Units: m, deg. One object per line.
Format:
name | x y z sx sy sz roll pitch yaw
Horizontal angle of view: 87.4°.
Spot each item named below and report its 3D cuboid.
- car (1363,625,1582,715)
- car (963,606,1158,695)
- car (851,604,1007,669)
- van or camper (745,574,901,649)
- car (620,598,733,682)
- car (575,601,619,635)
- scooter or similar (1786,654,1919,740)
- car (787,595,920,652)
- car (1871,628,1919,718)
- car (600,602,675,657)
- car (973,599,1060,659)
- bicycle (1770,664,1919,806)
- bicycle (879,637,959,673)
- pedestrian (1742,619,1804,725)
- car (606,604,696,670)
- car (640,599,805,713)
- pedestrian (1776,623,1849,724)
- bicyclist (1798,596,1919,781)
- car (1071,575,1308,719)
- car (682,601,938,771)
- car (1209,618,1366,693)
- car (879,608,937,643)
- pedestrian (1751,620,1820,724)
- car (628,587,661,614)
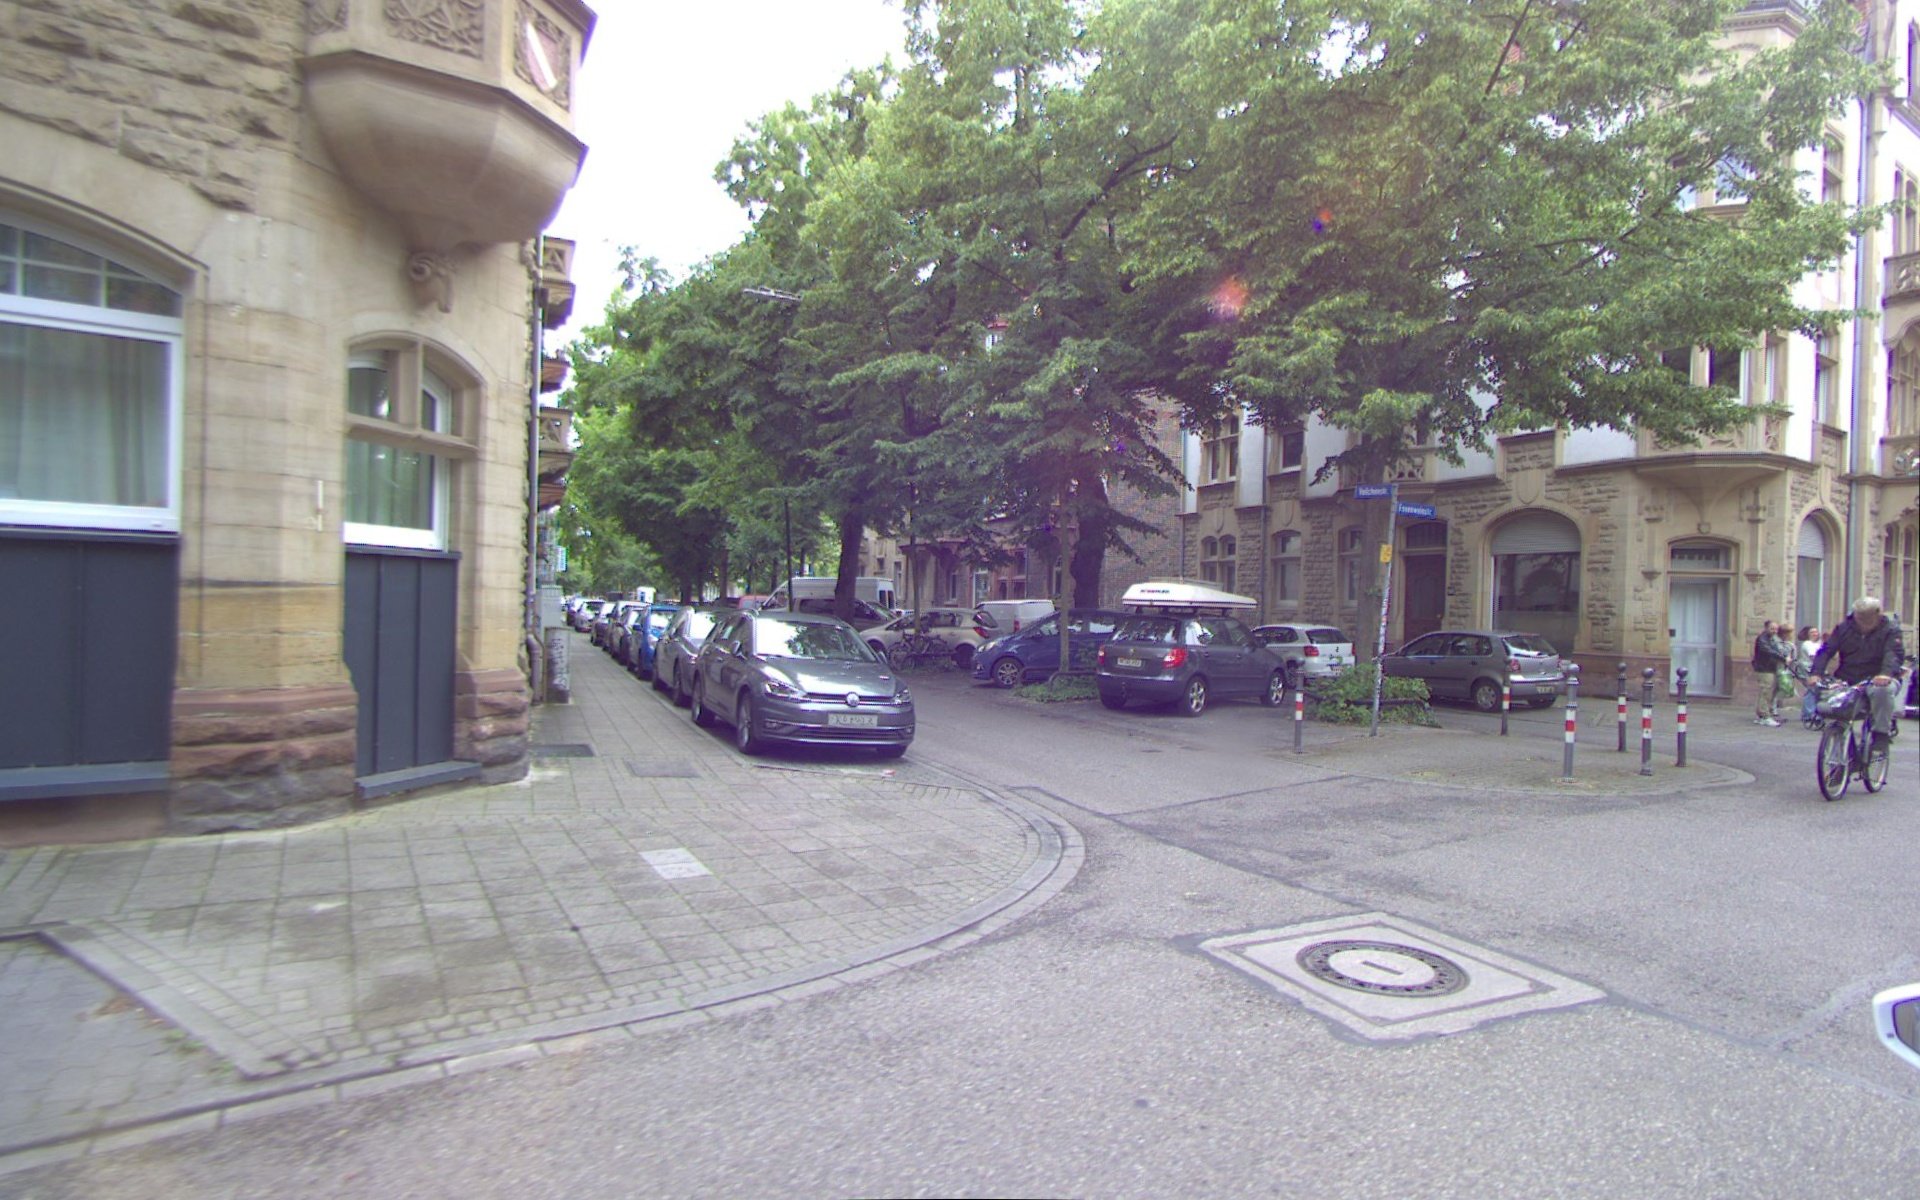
car | 9.762 1.261 19.406 1.626 1.480 3.560 -1 0 -23
car | 1.876 0.922 19.249 3.540 1.536 1.654 1 0 3
car | -0.764 0.907 25.636 3.585 1.500 1.780 1 -1 16
van or camper | -4.962 0.391 36.558 5.193 2.494 2.075 1 0 18
car | -5.986 0.784 20.972 1.641 1.485 3.369 5 -2 -25
car | -16.660 0.805 46.003 1.588 1.424 3.369 1 0 -25
scooter or similar | 13.765 1.457 15.442 0.666 1.119 1.466 2 2 -21
car | -3.274 0.737 31.233 3.683 1.537 1.759 3 -1 11
car | 18.207 1.363 18.021 3.956 1.514 1.700 3 1 -32
car | -9.425 0.819 29.257 1.558 1.367 3.369 5 -2 -25
car | 2.049 1.018 37.360 1.885 2.035 3.512 0 2 -23
bicycle | 7.968 1.144 8.920 1.778 1.108 0.630 2 0 -31
bicycle | -0.953 1.270 23.251 1.751 0.764 0.836 -1 0 -10
pedestrian | 13.127 1.151 16.232 0.520 1.665 0.527 2 1 -21
car | -7.679 0.867 24.798 1.558 1.367 3.369 5 -2 -25
car | -3.962 0.813 16.238 1.641 1.485 4.258 5 -2 -25
pedestrian | 14.299 1.214 16.860 0.656 1.615 0.632 2 1 8
bicyclist | 8.009 0.758 8.950 0.669 1.559 0.644 1 -1 -30
car | 3.718 0.684 15.912 3.936 1.994 1.809 2 0 -45
car | -1.915 0.851 11.504 1.641 1.485 4.258 5 -2 -25
car | 7.723 1.283 23.980 1.626 1.479 3.481 3 1 -23
car | -2.507 1.182 48.025 1.695 1.529 3.538 2 0 -22
pedestrian | 13.609 1.174 16.568 0.594 1.665 0.615 1 1 -21
car | -25.088 0.008 79.770 1.725 1.907 3.970 3 1 -28
